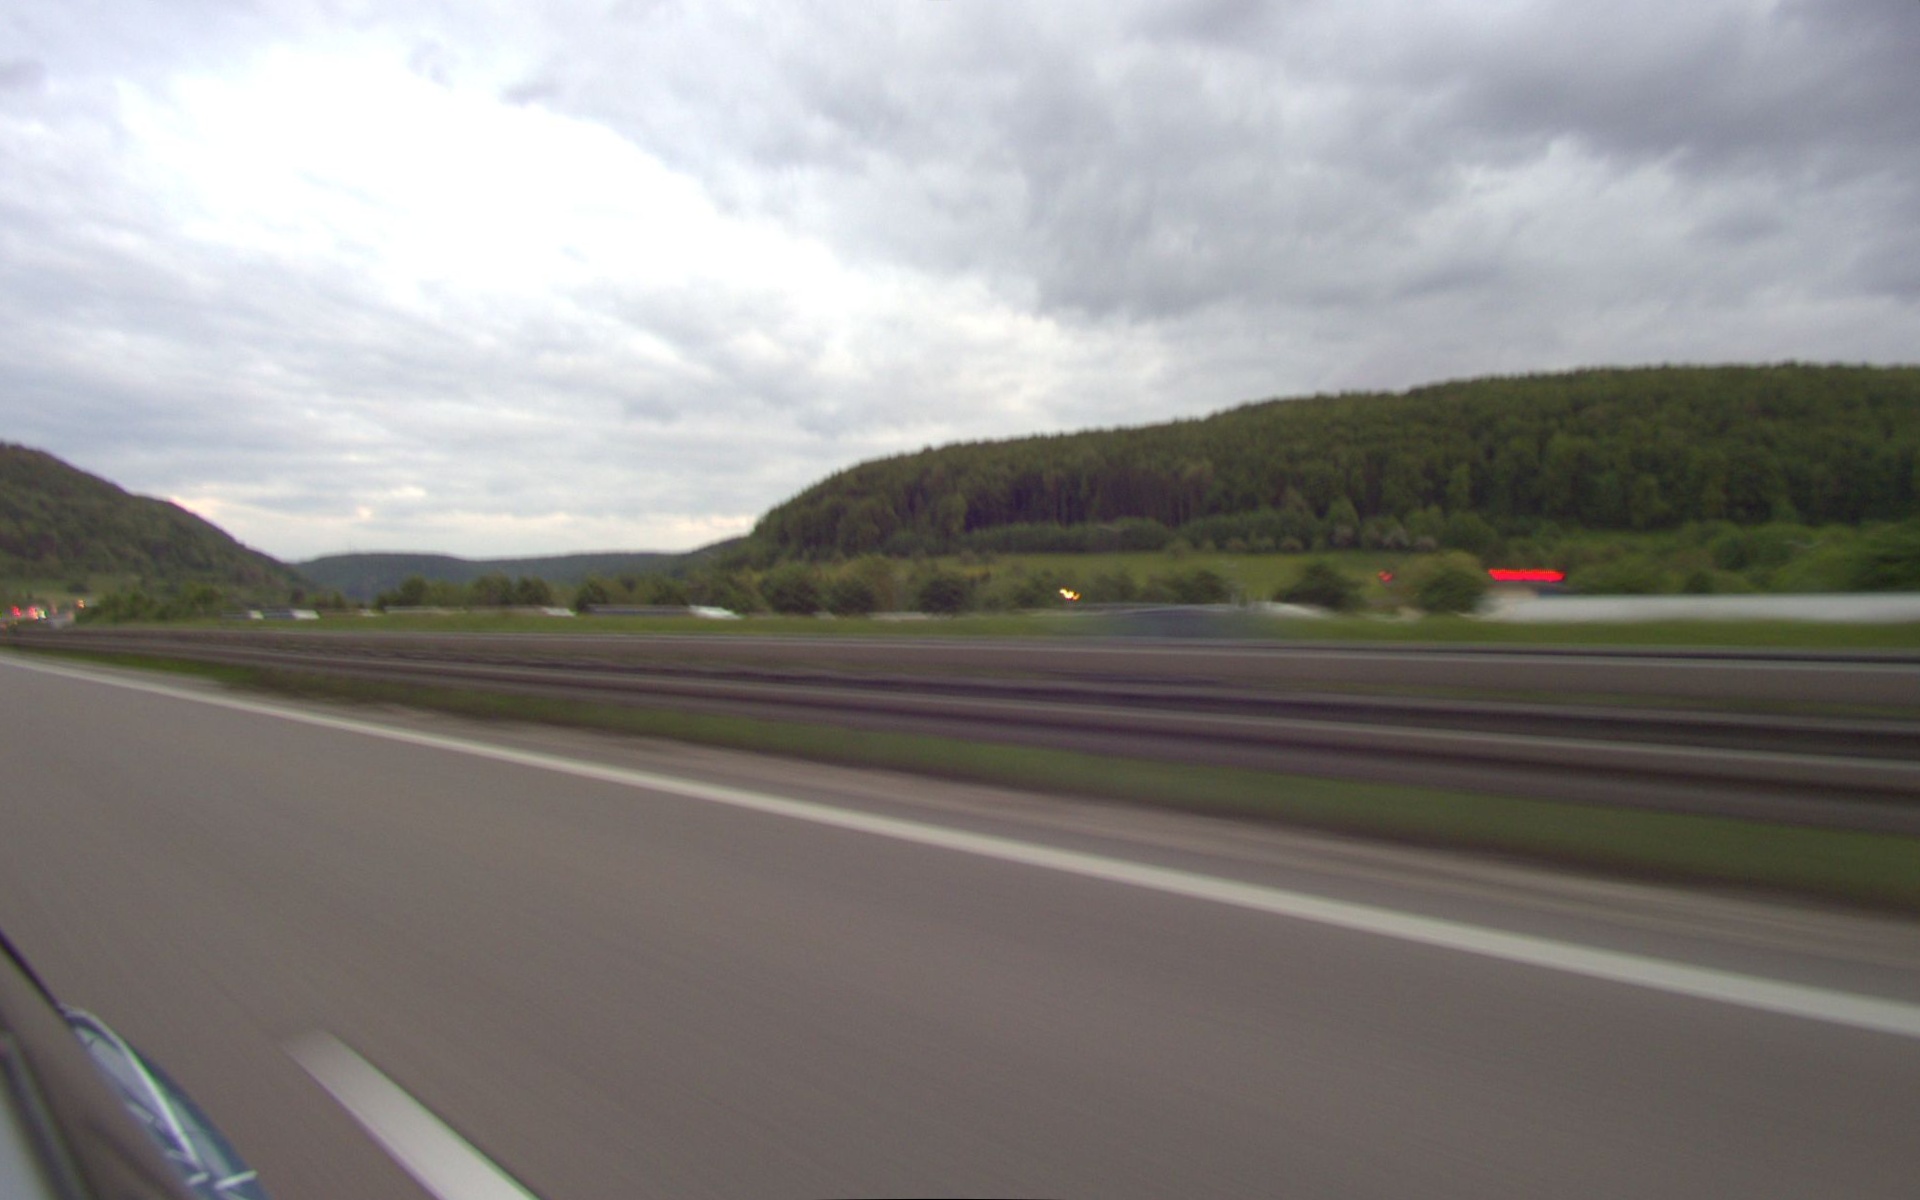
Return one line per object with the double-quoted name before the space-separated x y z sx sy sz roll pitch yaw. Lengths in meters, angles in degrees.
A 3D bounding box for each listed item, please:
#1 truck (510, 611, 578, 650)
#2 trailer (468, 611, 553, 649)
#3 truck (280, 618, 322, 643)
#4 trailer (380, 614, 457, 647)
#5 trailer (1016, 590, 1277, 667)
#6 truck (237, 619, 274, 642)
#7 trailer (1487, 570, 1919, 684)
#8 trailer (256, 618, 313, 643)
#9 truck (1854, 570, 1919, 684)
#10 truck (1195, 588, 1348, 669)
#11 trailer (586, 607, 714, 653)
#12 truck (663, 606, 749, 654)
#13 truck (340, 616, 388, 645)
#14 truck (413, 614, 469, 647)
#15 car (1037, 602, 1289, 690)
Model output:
"truck" -34.383 2.477 83.570 5.890 3.112 2.837 -2 -2 41
"trailer" -39.085 2.608 87.761 10.152 3.112 2.837 -2 -2 42
"truck" -82.170 3.806 126.149 5.839 3.112 2.837 -2 -2 41
"trailer" -54.269 3.030 101.257 11.809 3.112 2.837 -2 -2 42
"trailer" 8.010 1.320 45.490 11.721 3.076 2.843 -2 -2 42
"truck" -97.210 4.225 139.566 5.890 3.112 2.837 -2 -2 41
"trailer" 23.308 0.876 32.281 11.155 3.112 2.837 -2 -2 42
"trailer" -87.354 3.949 130.729 13.629 3.112 2.837 -2 -2 42
"truck" 28.187 0.738 27.833 5.302 3.112 2.837 -2 -2 41
"truck" 12.688 1.164 41.439 5.302 3.112 2.837 -2 -2 41
"trailer" -22.645 2.157 73.338 12.480 3.112 2.837 -2 -2 42
"truck" -17.259 2.007 68.522 5.890 3.112 2.837 -2 -2 41
"truck" -66.002 3.364 112.023 5.890 3.112 2.837 -2 -2 41
"truck" -49.994 2.911 97.456 5.890 3.112 2.837 -2 -2 41
"car" 4.330 1.020 22.151 5.113 1.714 1.973 -2 -5 41
